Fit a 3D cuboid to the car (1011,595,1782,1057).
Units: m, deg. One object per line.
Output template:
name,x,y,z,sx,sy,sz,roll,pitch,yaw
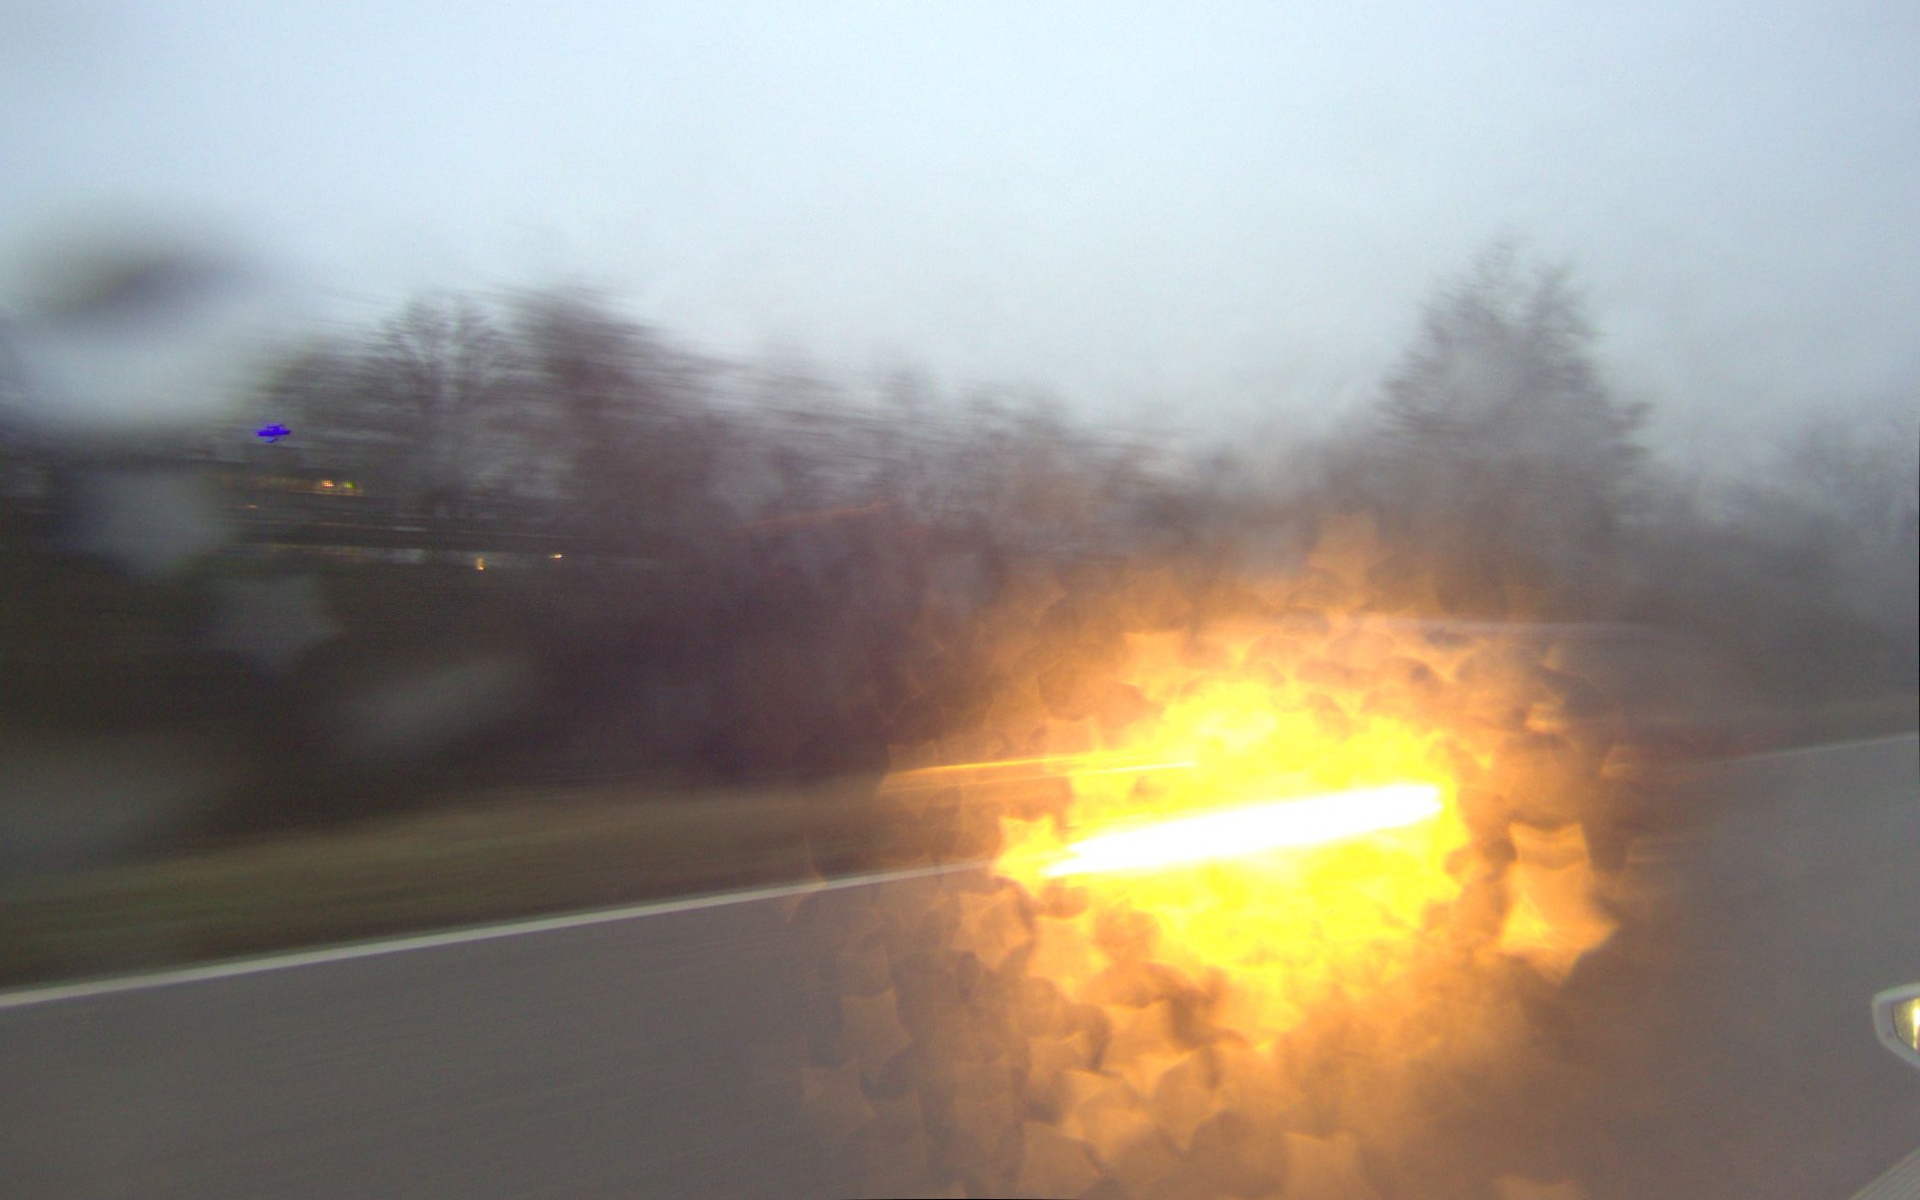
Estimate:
car,2.222,0.776,4.938,3.627,1.506,1.647,1,0,-30
